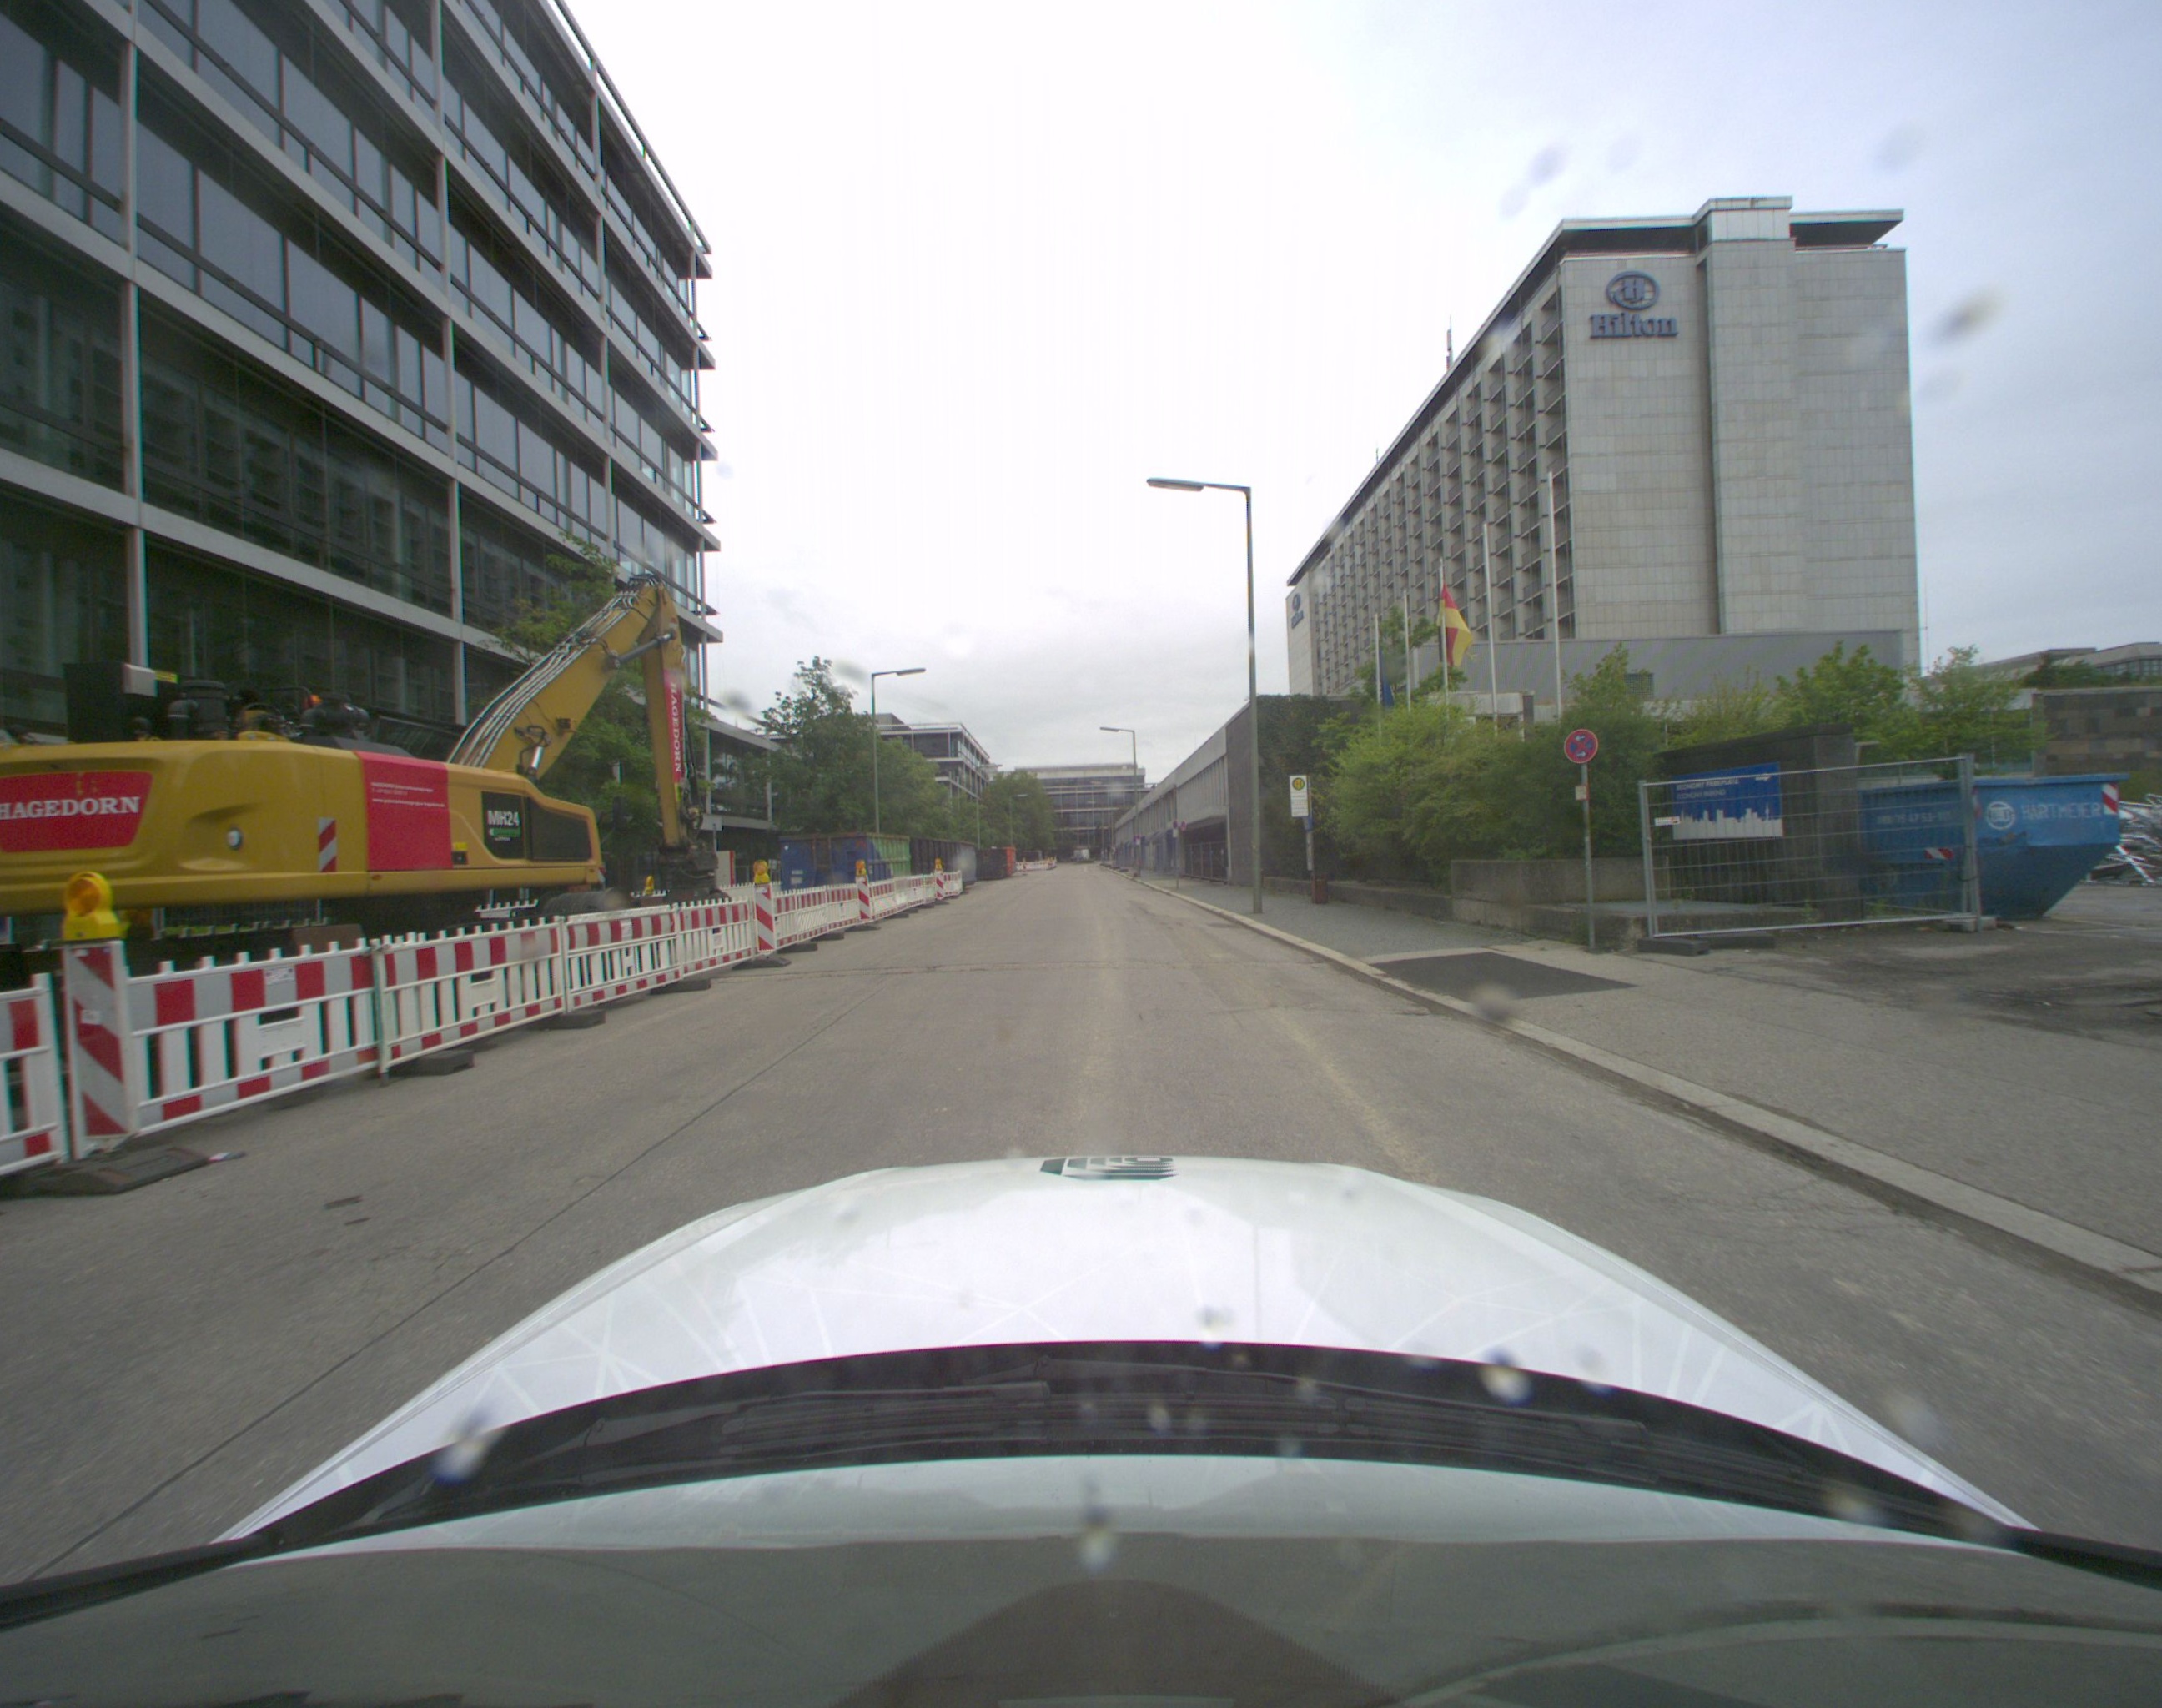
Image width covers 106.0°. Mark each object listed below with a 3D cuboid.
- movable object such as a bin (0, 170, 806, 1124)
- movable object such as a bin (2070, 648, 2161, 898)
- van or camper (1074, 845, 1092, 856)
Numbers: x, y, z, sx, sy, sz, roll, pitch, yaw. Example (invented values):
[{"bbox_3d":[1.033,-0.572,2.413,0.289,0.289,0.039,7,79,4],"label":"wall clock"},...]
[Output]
[{"bbox_3d":[-7.391,-1.418,11.509,2.895,6.564,11.779,-2,0,-1],"label":"movable object such as a bin"},{"bbox_3d":[19.641,-1.396,12.844,7.198,3.683,3.854,-3,0,-29],"label":"movable object such as a bin"},{"bbox_3d":[0.426,-0.827,184.670,2.096,2.492,5.024,-2,0,-26],"label":"van or camper"}]
